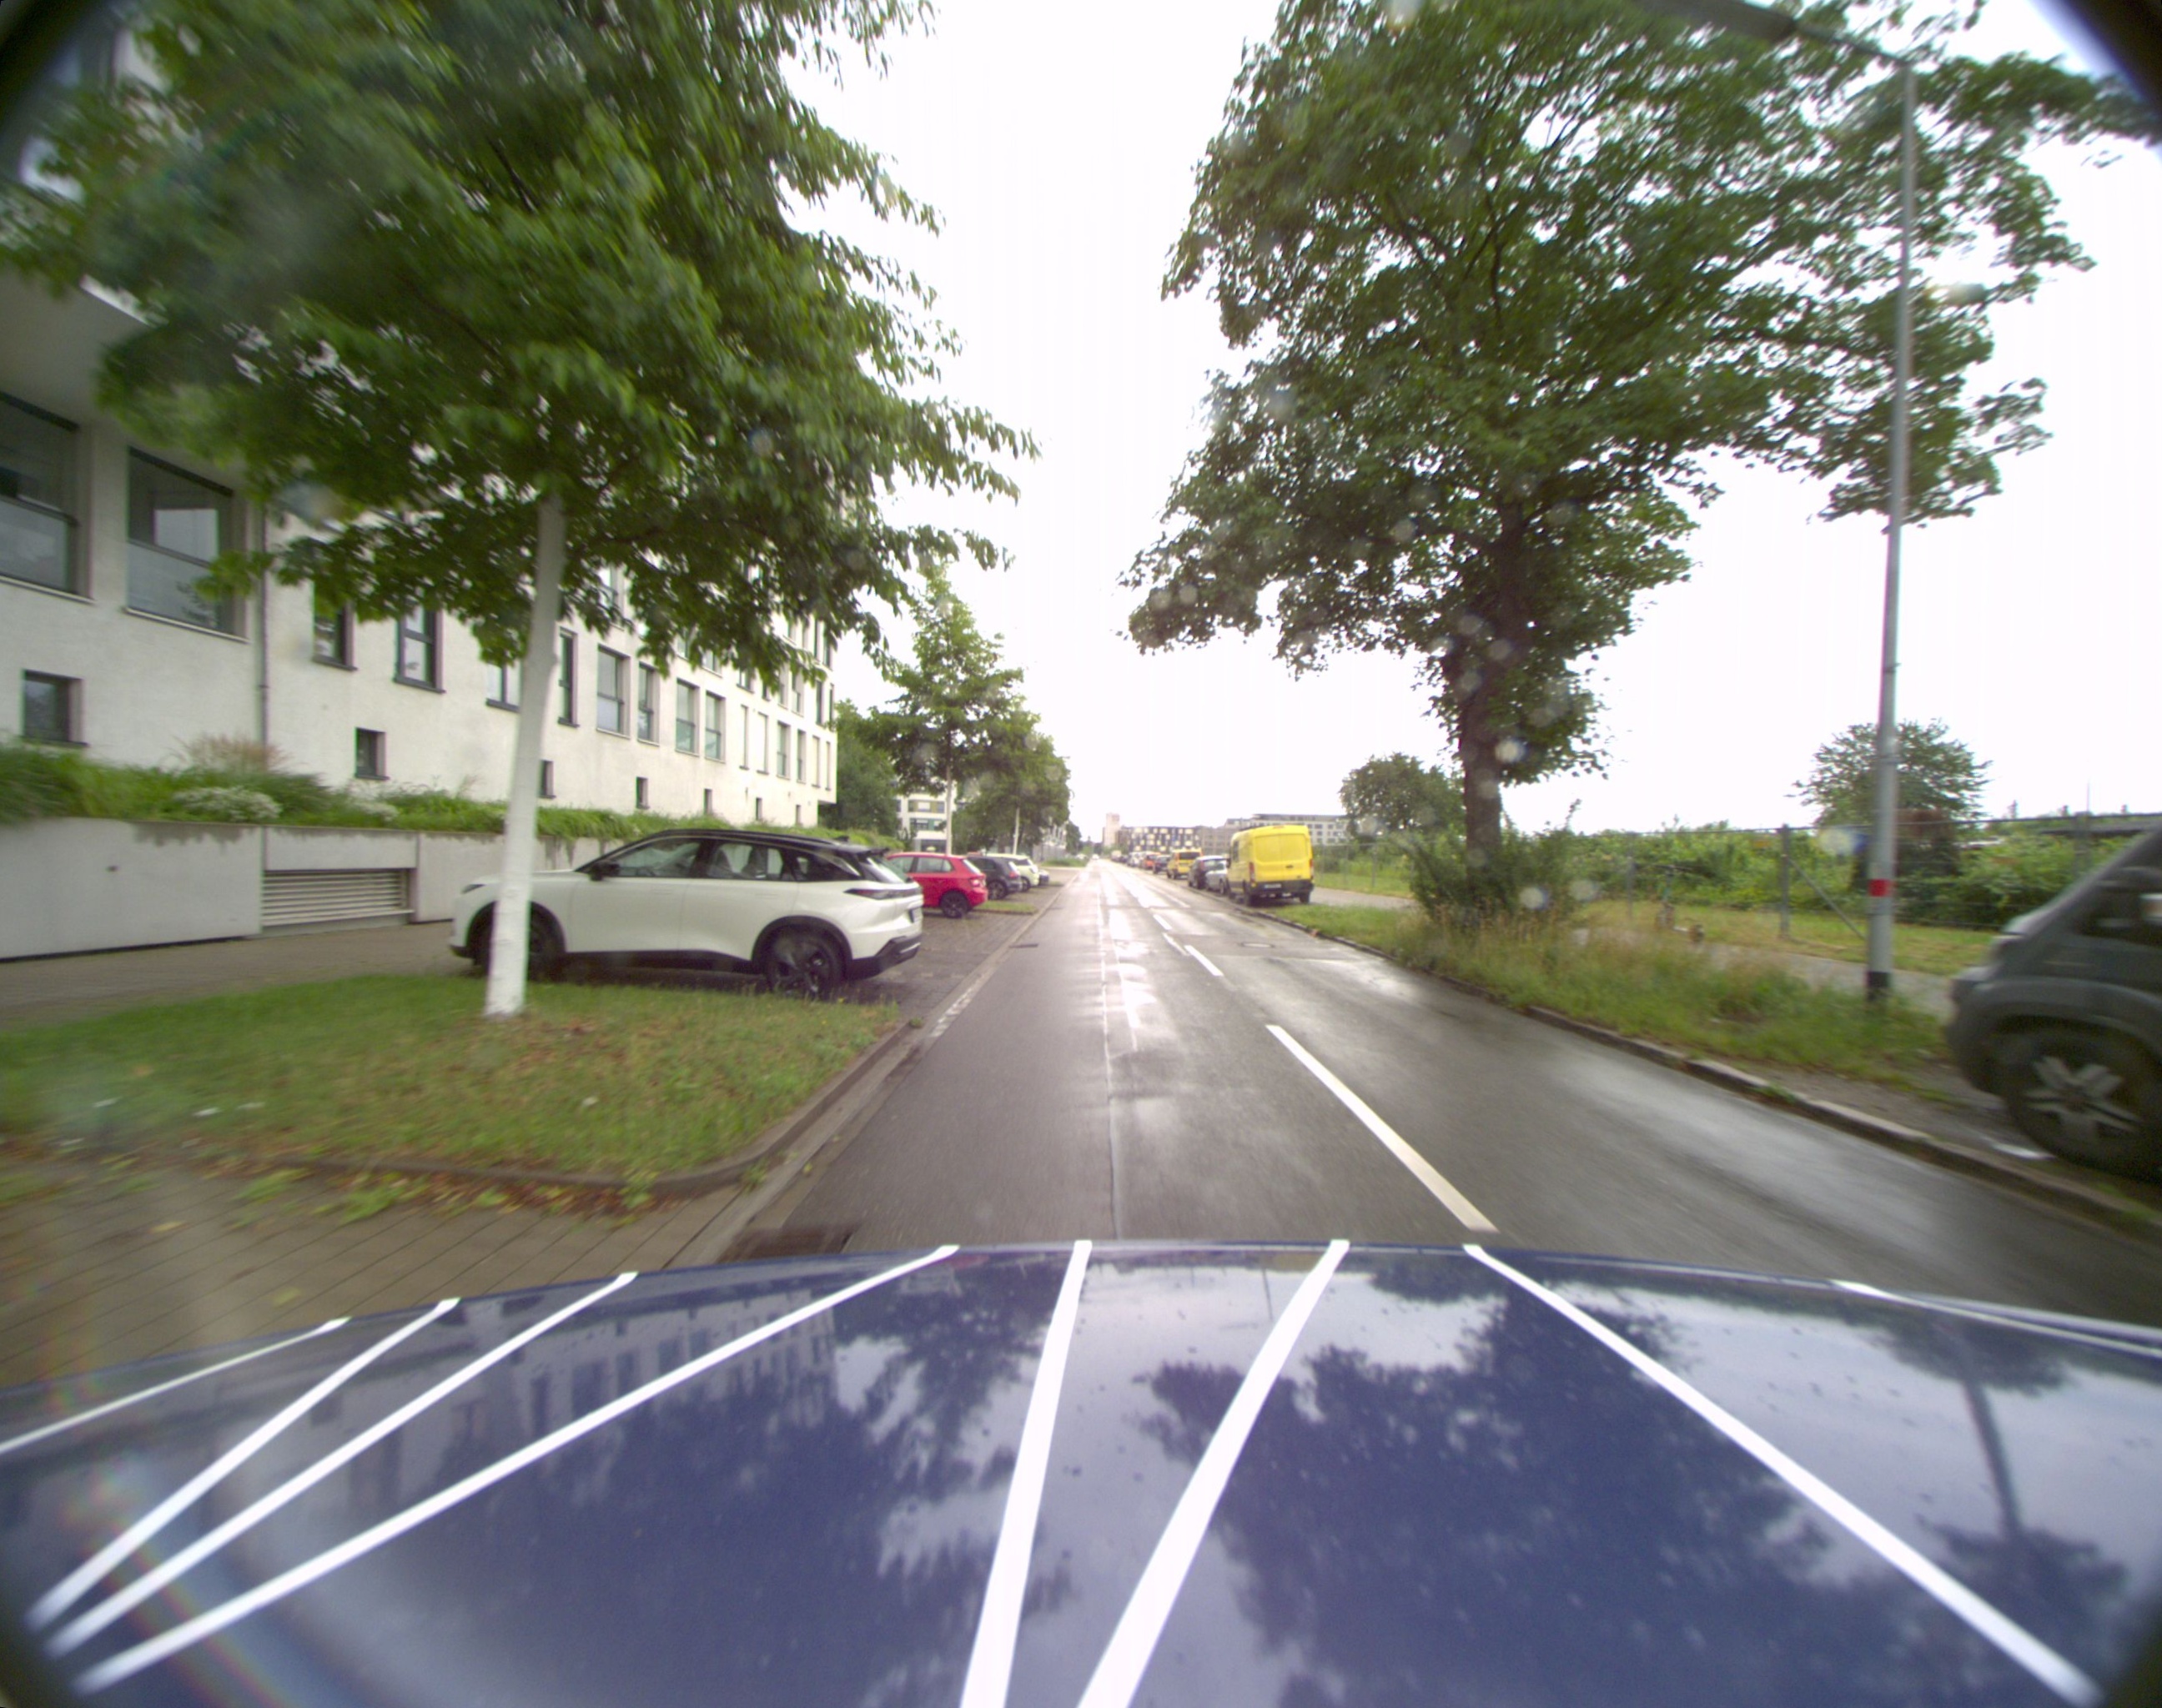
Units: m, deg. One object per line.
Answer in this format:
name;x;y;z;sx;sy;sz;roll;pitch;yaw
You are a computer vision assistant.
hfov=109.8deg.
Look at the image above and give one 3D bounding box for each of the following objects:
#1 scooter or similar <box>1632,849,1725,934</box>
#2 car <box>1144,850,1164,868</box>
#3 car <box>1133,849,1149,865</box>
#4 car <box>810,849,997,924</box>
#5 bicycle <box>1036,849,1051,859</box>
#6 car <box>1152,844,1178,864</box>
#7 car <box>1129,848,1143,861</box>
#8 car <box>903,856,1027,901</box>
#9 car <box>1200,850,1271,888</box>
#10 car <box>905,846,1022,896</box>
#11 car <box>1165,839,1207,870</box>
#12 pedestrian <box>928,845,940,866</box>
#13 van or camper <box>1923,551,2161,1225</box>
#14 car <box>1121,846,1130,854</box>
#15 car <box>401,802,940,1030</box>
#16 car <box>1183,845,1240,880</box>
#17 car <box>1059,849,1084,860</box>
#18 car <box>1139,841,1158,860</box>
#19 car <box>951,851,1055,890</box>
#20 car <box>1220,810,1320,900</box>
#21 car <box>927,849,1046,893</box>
scooter or similar;9.971;0.584;12.734;0.436;1.332;1.411;2;1;2
car;7.672;0.482;80.041;1.944;1.757;4.332;1;0;3
car;8.098;0.350;102.657;1.964;2.046;5.274;0;0;2
car;-4.169;0.728;18.274;3.997;1.443;1.820;3;2;0
bicycle;-6.007;0.065;121.499;2.189;1.514;0.631;3;1;22
car;6.930;-0.026;62.849;1.808;1.552;4.033;-1;0;2
car;8.350;0.101;115.914;1.960;1.890;4.995;1;0;1
car;-3.867;0.812;25.727;3.966;1.466;1.591;0;1;-1
car;6.477;0.571;32.518;2.015;1.426;5.339;-2;1;1
car;-4.328;0.613;28.442;3.996;1.547;1.635;4;1;2
car;6.861;-0.001;50.140;2.022;1.945;6.064;-1;1;1
pedestrian;-14.406;0.158;74.515;0.967;2.002;0.622;2;1;1
van or camper;5.971;0.177;1.233;2.100;3.076;6.423;-1;1;0
car;9.581;-0.898;162.159;1.756;1.683;4.882;1;0;4
car;-4.016;0.586;8.079;4.551;1.675;1.885;6;1;-1
car;6.395;0.381;37.852;1.998;1.585;5.017;-1;1;0
car;-1.660;0.107;131.653;4.099;1.614;1.966;4;1;0
car;8.139;-0.442;91.963;1.947;2.223;5.557;1;0;1
car;-3.608;0.748;35.630;4.582;1.488;1.825;4;1;0
car;6.319;0.017;26.190;2.197;2.679;6.082;-1;0;3
car;-3.792;0.665;30.967;4.498;1.473;1.692;4;1;1
